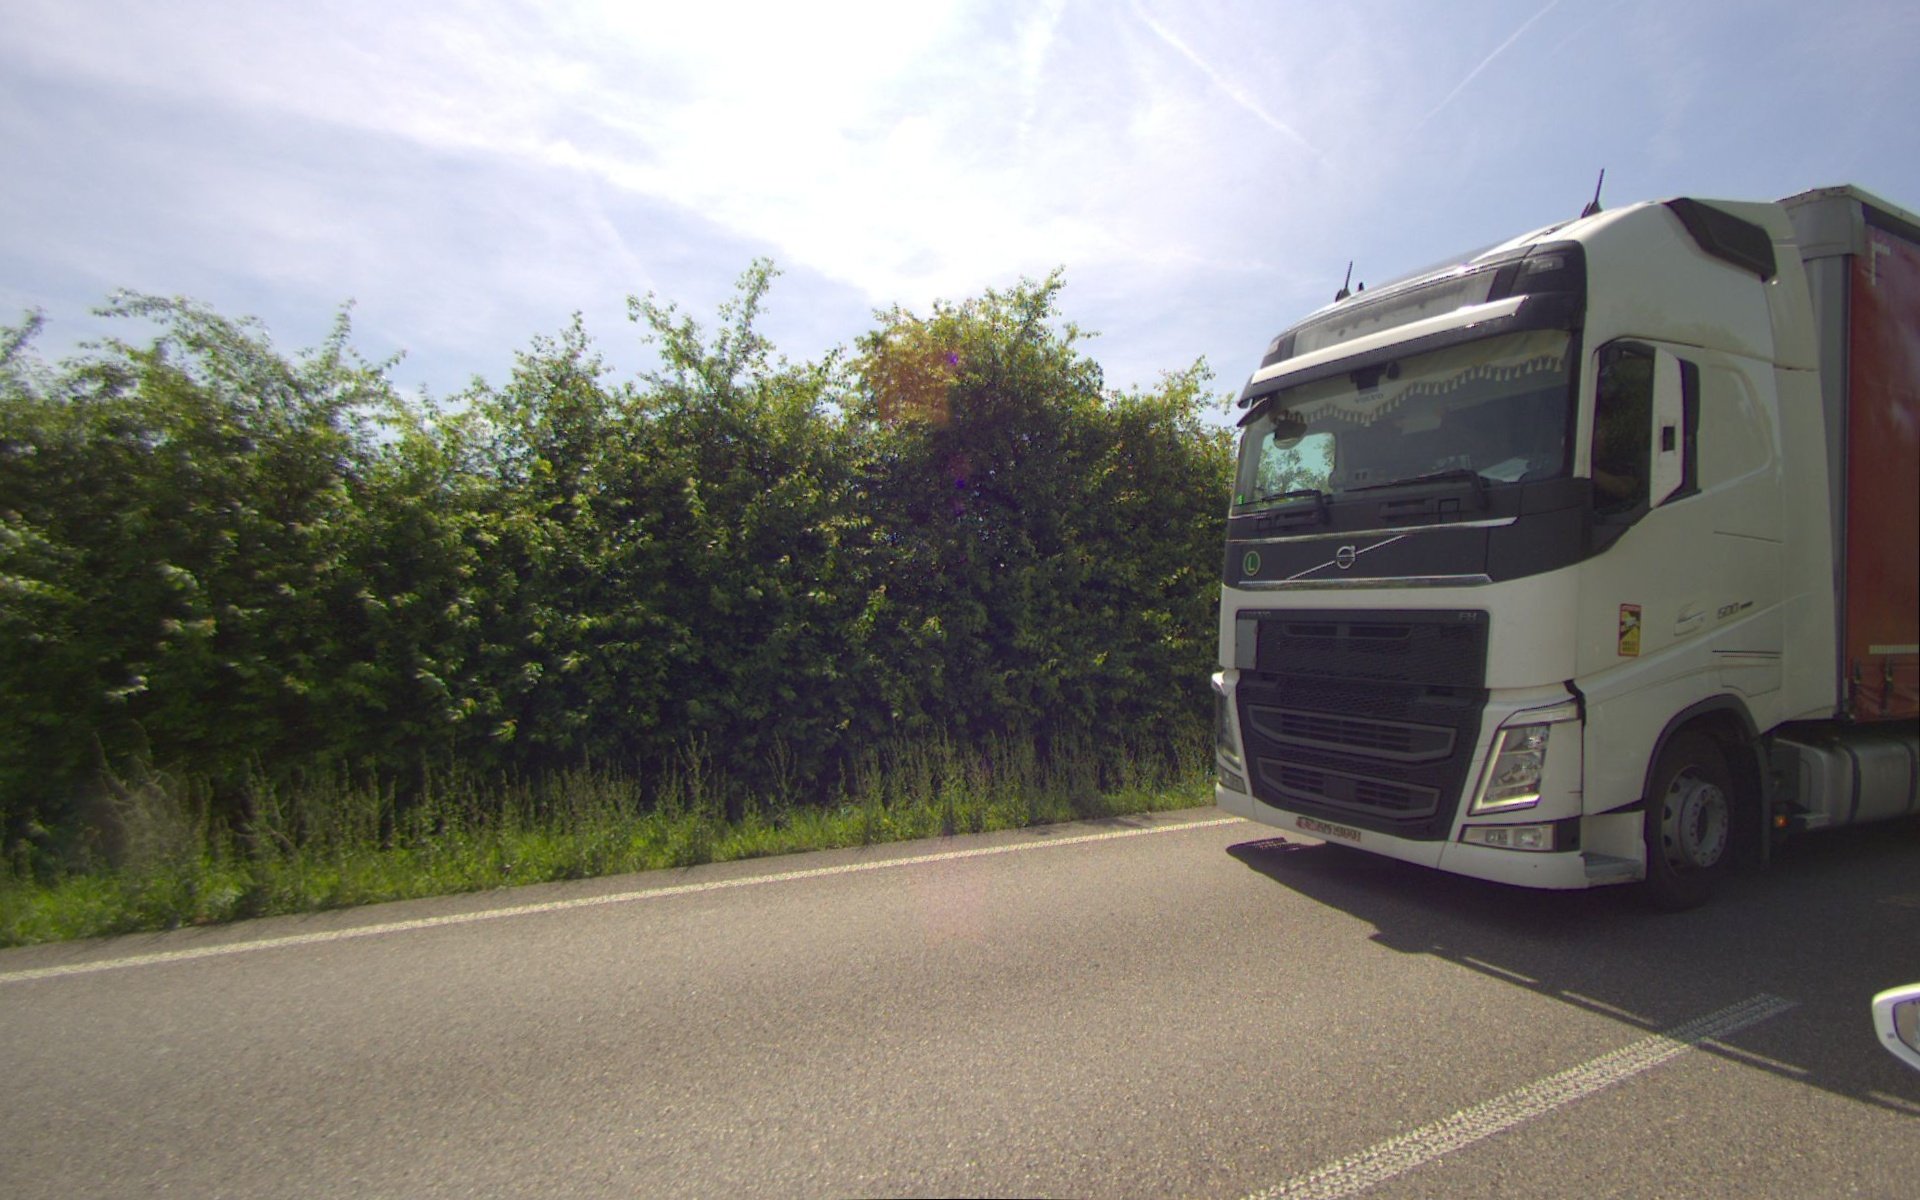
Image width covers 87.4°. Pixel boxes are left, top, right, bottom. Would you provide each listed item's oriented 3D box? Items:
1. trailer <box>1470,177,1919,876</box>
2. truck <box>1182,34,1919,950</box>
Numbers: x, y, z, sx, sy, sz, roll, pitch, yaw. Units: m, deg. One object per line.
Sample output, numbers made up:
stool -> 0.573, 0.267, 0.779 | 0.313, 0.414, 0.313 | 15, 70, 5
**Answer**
trailer -> 10.740, -0.301, 10.270 | 13.489, 4.162, 2.558 | 1, -1, -28
truck -> 4.636, -0.434, 7.041 | 5.726, 4.170, 2.549 | 1, -1, -28
